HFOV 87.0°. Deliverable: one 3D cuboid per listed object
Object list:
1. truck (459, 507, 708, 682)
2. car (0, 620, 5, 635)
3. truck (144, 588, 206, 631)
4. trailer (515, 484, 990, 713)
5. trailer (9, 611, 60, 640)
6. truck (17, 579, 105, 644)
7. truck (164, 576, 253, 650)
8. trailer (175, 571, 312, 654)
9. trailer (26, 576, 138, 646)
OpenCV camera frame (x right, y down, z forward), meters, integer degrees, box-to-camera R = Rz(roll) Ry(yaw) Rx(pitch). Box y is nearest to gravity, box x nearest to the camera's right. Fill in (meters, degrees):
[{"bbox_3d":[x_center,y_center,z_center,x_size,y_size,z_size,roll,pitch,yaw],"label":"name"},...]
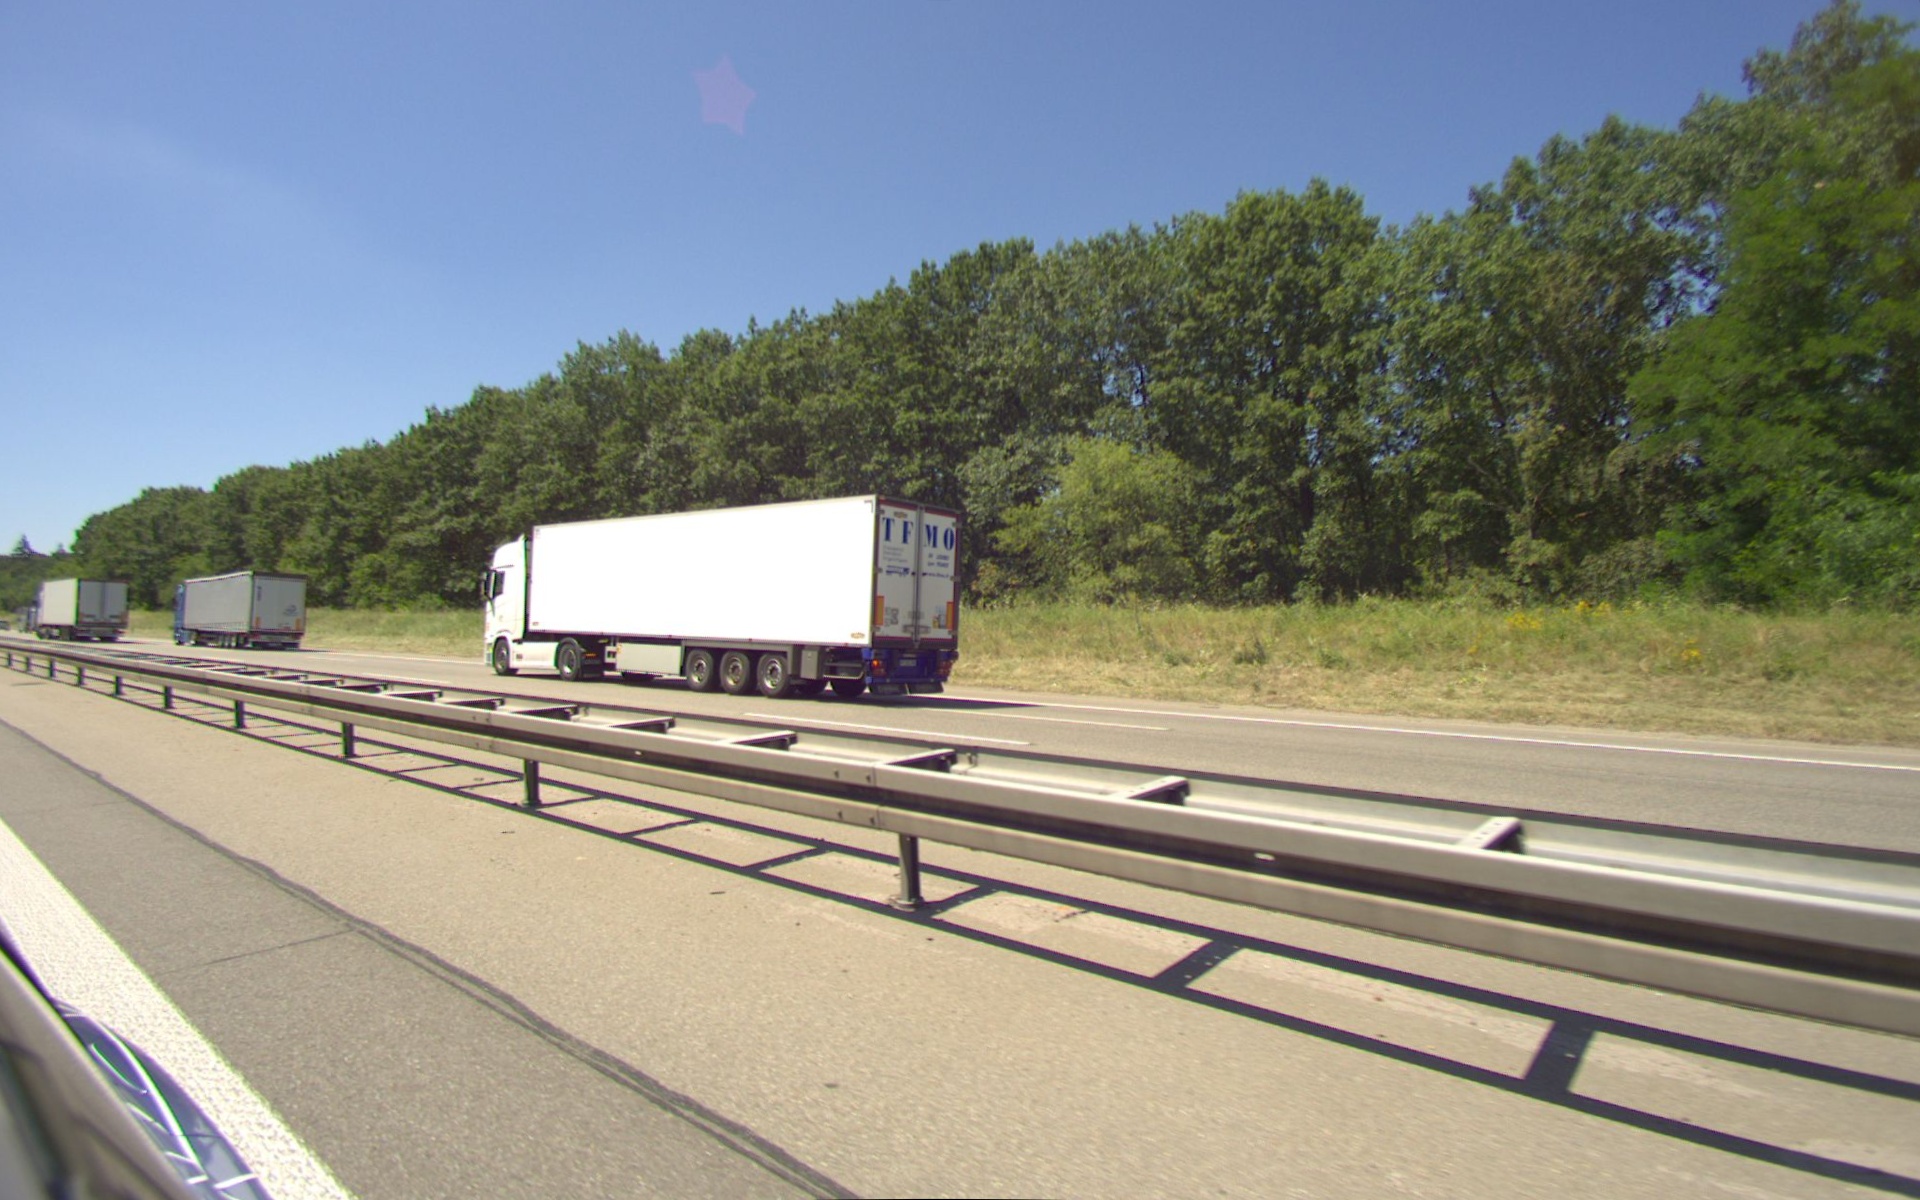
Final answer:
[{"bbox_3d":[-10.826,0.000,28.809,7.054,4.354,3.494,-1,-4,41],"label":"truck"},{"bbox_3d":[-131.749,3.777,137.800,3.995,2.029,1.974,-1,0,39],"label":"car"},{"bbox_3d":[-53.218,0.663,68.576,6.104,2.789,2.135,-1,0,41],"label":"truck"},{"bbox_3d":[-5.706,0.146,24.382,13.597,4.216,3.494,-1,-4,41],"label":"trailer"},{"bbox_3d":[-99.788,2.740,109.095,7.170,2.998,3.190,-1,0,40],"label":"trailer"},{"bbox_3d":[-63.816,0.871,71.824,7.109,4.216,3.494,-1,-4,41],"label":"truck"},{"bbox_3d":[-45.977,0.851,61.854,6.036,4.216,2.902,-1,-4,41],"label":"truck"},{"bbox_3d":[-40.924,0.779,57.494,13.846,4.216,2.902,-1,-4,41],"label":"trailer"},{"bbox_3d":[-58.682,0.798,67.442,13.654,4.216,3.494,-1,-4,41],"label":"trailer"}]
